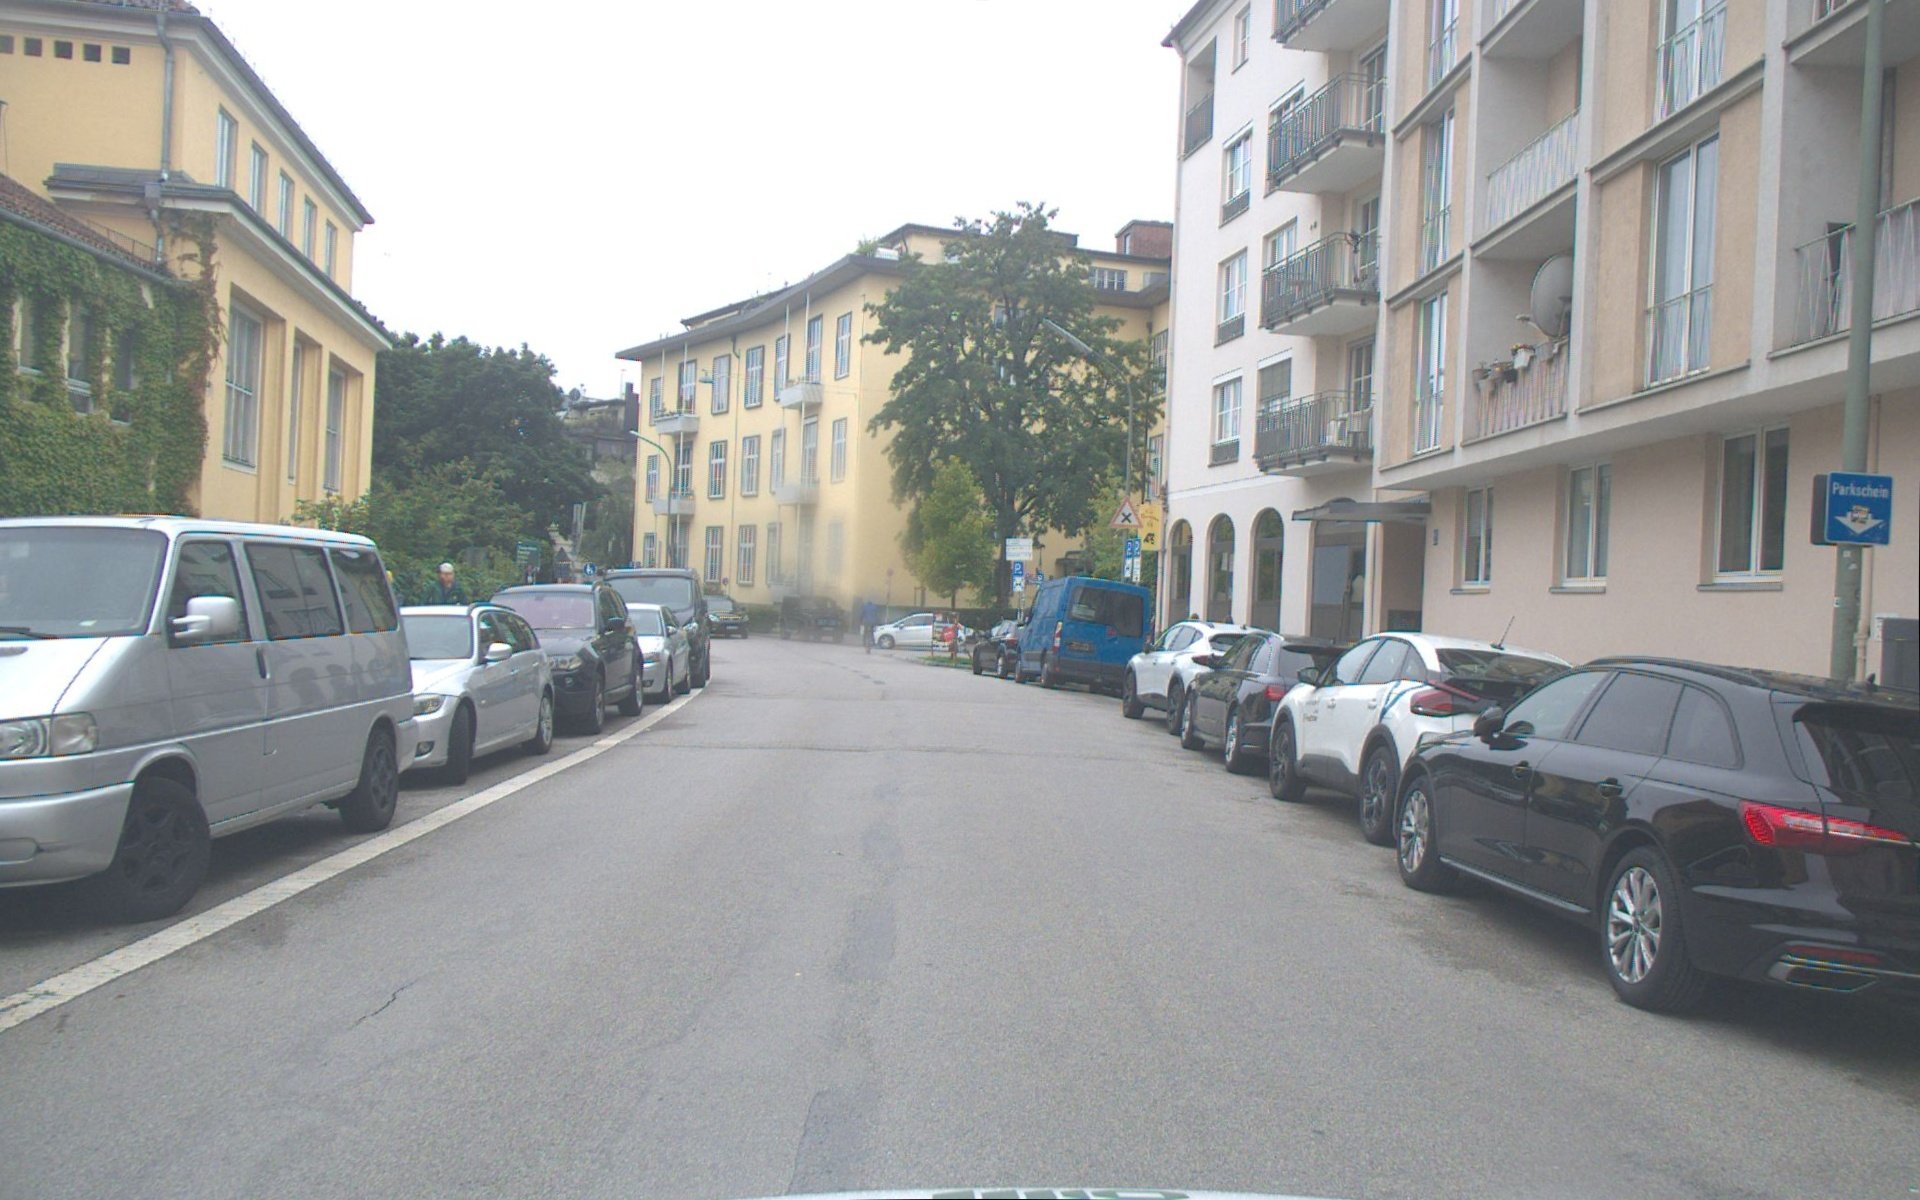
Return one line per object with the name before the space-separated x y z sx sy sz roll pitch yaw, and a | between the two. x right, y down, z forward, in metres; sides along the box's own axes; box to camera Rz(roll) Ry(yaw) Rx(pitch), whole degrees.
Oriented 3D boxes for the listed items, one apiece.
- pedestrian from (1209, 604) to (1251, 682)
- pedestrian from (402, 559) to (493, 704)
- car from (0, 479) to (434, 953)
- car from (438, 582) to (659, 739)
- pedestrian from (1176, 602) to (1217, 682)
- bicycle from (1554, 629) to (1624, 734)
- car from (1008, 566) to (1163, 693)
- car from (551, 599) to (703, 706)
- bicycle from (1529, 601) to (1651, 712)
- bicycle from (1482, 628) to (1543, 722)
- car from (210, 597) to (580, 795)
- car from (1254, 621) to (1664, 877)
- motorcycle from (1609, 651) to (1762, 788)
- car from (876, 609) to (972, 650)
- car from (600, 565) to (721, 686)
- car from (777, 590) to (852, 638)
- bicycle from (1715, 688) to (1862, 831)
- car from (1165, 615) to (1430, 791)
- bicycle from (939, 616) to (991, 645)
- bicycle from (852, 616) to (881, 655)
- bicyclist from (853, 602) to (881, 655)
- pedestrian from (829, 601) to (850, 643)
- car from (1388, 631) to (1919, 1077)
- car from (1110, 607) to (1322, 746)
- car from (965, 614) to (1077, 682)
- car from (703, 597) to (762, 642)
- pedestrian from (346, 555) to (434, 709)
pedestrian | 5.690 0.898 34.856 0.697 1.633 0.699 1 -1 -6
pedestrian | -6.504 0.391 21.037 0.826 1.785 0.872 2 0 -1
car | -4.484 0.465 8.826 1.855 1.830 4.879 -2 0 -2
car | -4.754 0.629 19.721 1.668 1.634 4.488 -1 0 -3
pedestrian | 4.978 0.881 34.844 0.665 1.657 0.828 1 -1 -6
bicycle | 7.671 0.979 20.201 0.384 1.223 1.342 -1 -1 3
car | 2.565 0.660 35.188 2.070 2.251 5.019 7 -3 -8
car | -4.926 0.725 24.949 1.673 1.389 3.999 -2 1 -4
bicycle | 7.198 0.640 18.899 1.316 1.223 0.392 -1 -1 -16
bicycle | 7.505 1.001 22.510 0.437 1.223 1.395 -1 -1 4
car | -4.745 0.722 14.633 1.767 1.401 4.489 -2 0 -1
car | 3.713 1.026 13.125 1.669 1.493 4.117 7 -1 -3
motorcycle | 7.568 1.215 17.367 0.623 1.293 2.040 1 0 -3
car | -1.401 1.165 65.213 3.638 1.431 1.753 2 0 2
car | -5.373 0.407 30.189 1.889 2.014 4.615 -1 0 -7
car | -6.319 0.575 71.502 1.848 1.920 4.586 2 0 -23
bicycle | 7.667 1.451 15.374 0.503 1.177 1.600 1 0 -3
car | 3.535 1.009 18.231 1.737 1.453 4.692 7 0 -1
bicycle | 0.223 1.321 71.666 2.122 1.135 0.641 2 0 6
bicycle | -3.249 1.233 57.548 0.902 1.274 2.320 2 0 -2
bicyclist | -3.234 0.990 57.531 0.896 1.795 1.214 2 0 -3
pedestrian | -5.237 0.942 71.792 0.832 1.788 0.952 2 0 -8
car | 3.643 0.981 8.052 1.790 1.405 4.490 5 0 -1
car | 3.542 1.013 23.697 1.743 1.548 4.297 6 0 -7
car | 1.444 1.150 40.932 1.685 1.418 3.987 6 -1 -13
car | -9.807 0.827 71.131 1.960 1.749 4.598 2 0 -14
pedestrian | -6.460 0.354 18.784 0.669 1.681 0.872 2 0 -3
